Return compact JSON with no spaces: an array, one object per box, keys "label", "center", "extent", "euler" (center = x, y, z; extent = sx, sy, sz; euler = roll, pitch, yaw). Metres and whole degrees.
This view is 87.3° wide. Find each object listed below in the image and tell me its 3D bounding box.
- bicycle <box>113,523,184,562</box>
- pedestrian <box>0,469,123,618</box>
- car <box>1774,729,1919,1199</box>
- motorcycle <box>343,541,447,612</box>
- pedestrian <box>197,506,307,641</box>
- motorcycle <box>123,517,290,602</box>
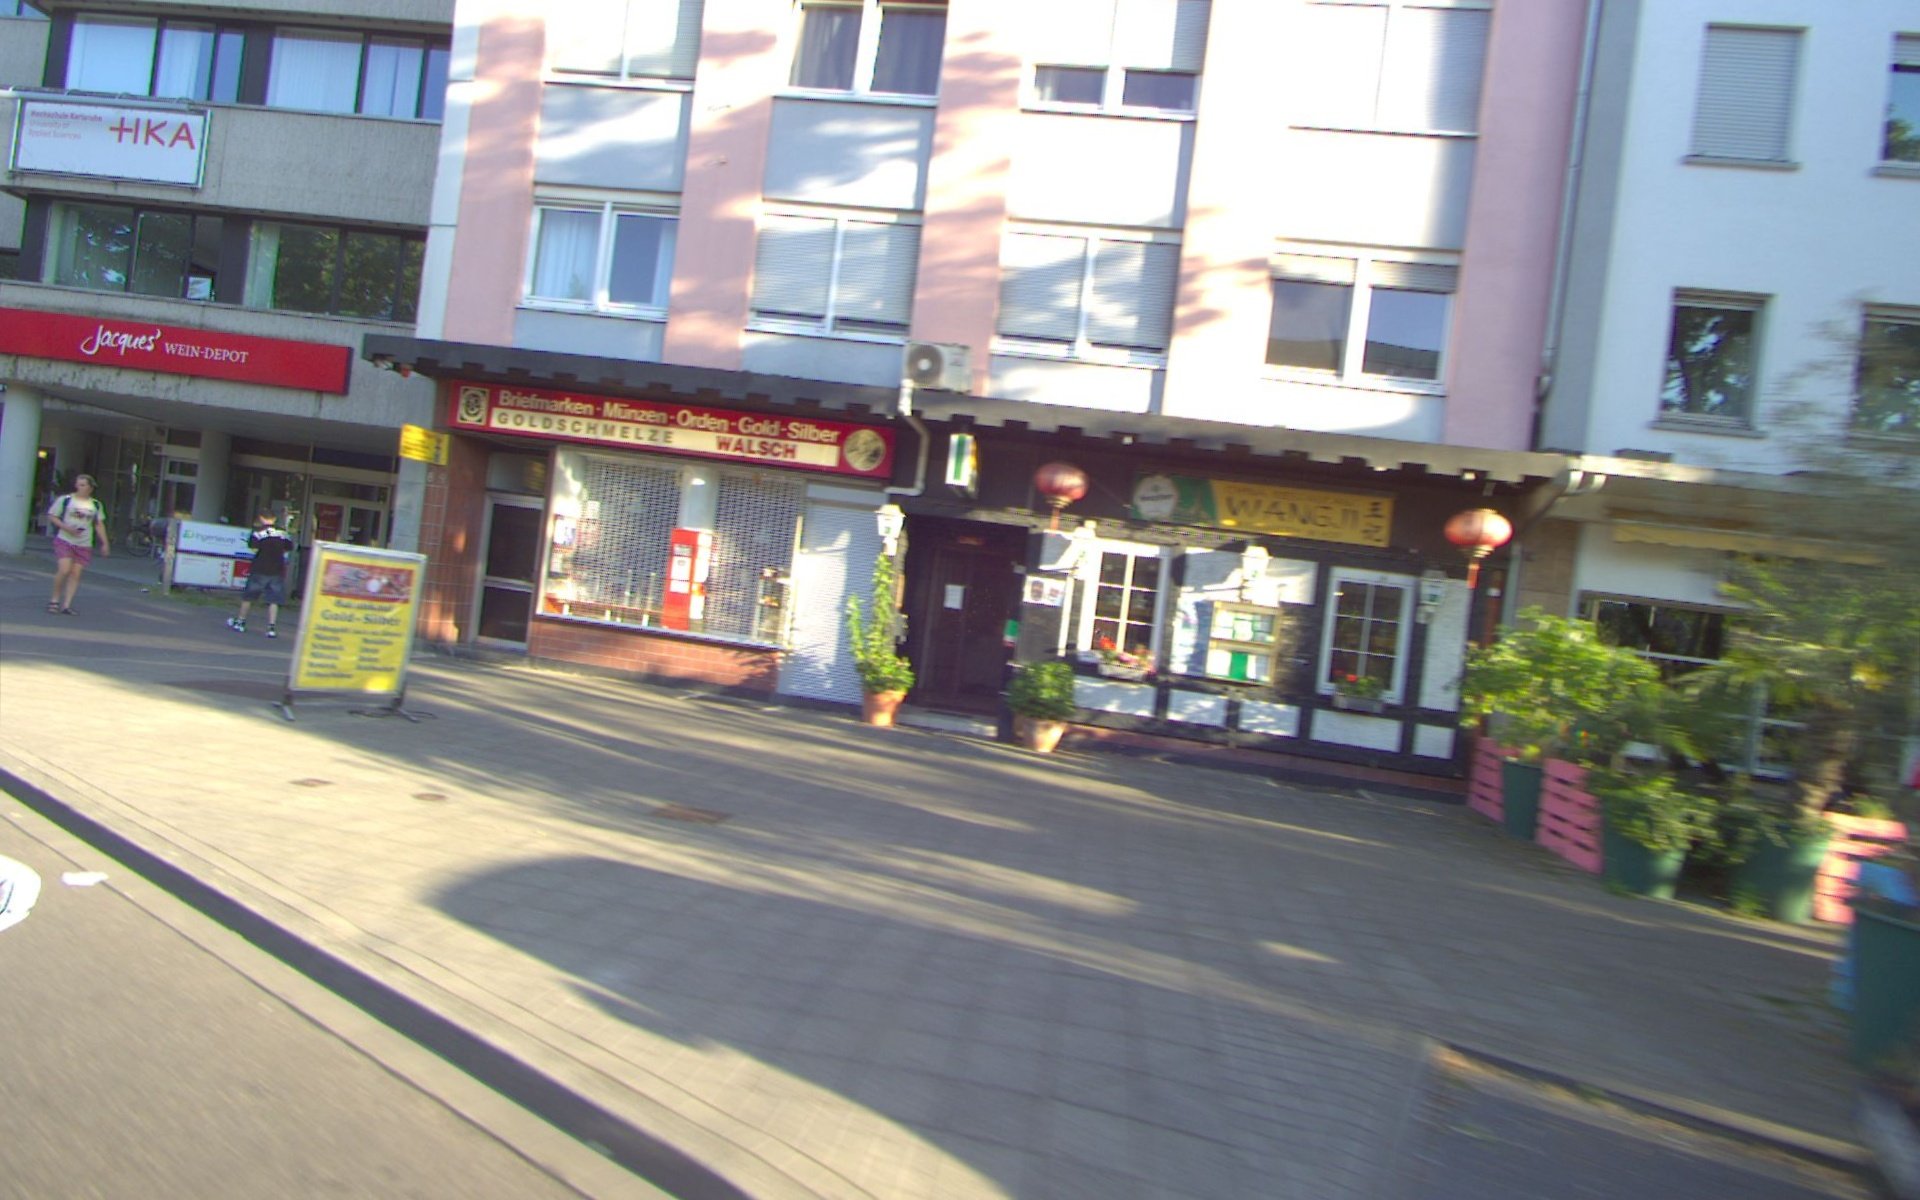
[{"label":"bicycle","center":[-21.879,-1.537,27.149],"extent":[0.430,0.838,1.397],"euler":[7,-2,23]},{"label":"pedestrian","center":[-11.847,-0.731,13.282],"extent":[0.840,1.807,0.641],"euler":[7,-1,9]},{"label":"car","center":[4.006,1.308,1.501],"extent":[3.998,1.552,1.654],"euler":[7,-2,31]},{"label":"motorcycle","center":[-12.292,-0.508,21.920],"extent":[1.785,1.309,0.661],"euler":[7,0,-43]},{"label":"pedestrian","center":[-9.354,-0.343,13.311],"extent":[0.840,1.647,0.641],"euler":[7,1,9]},{"label":"motorcycle","center":[-13.469,-0.691,18.088],"extent":[0.692,1.204,2.283],"euler":[7,-1,22]}]
